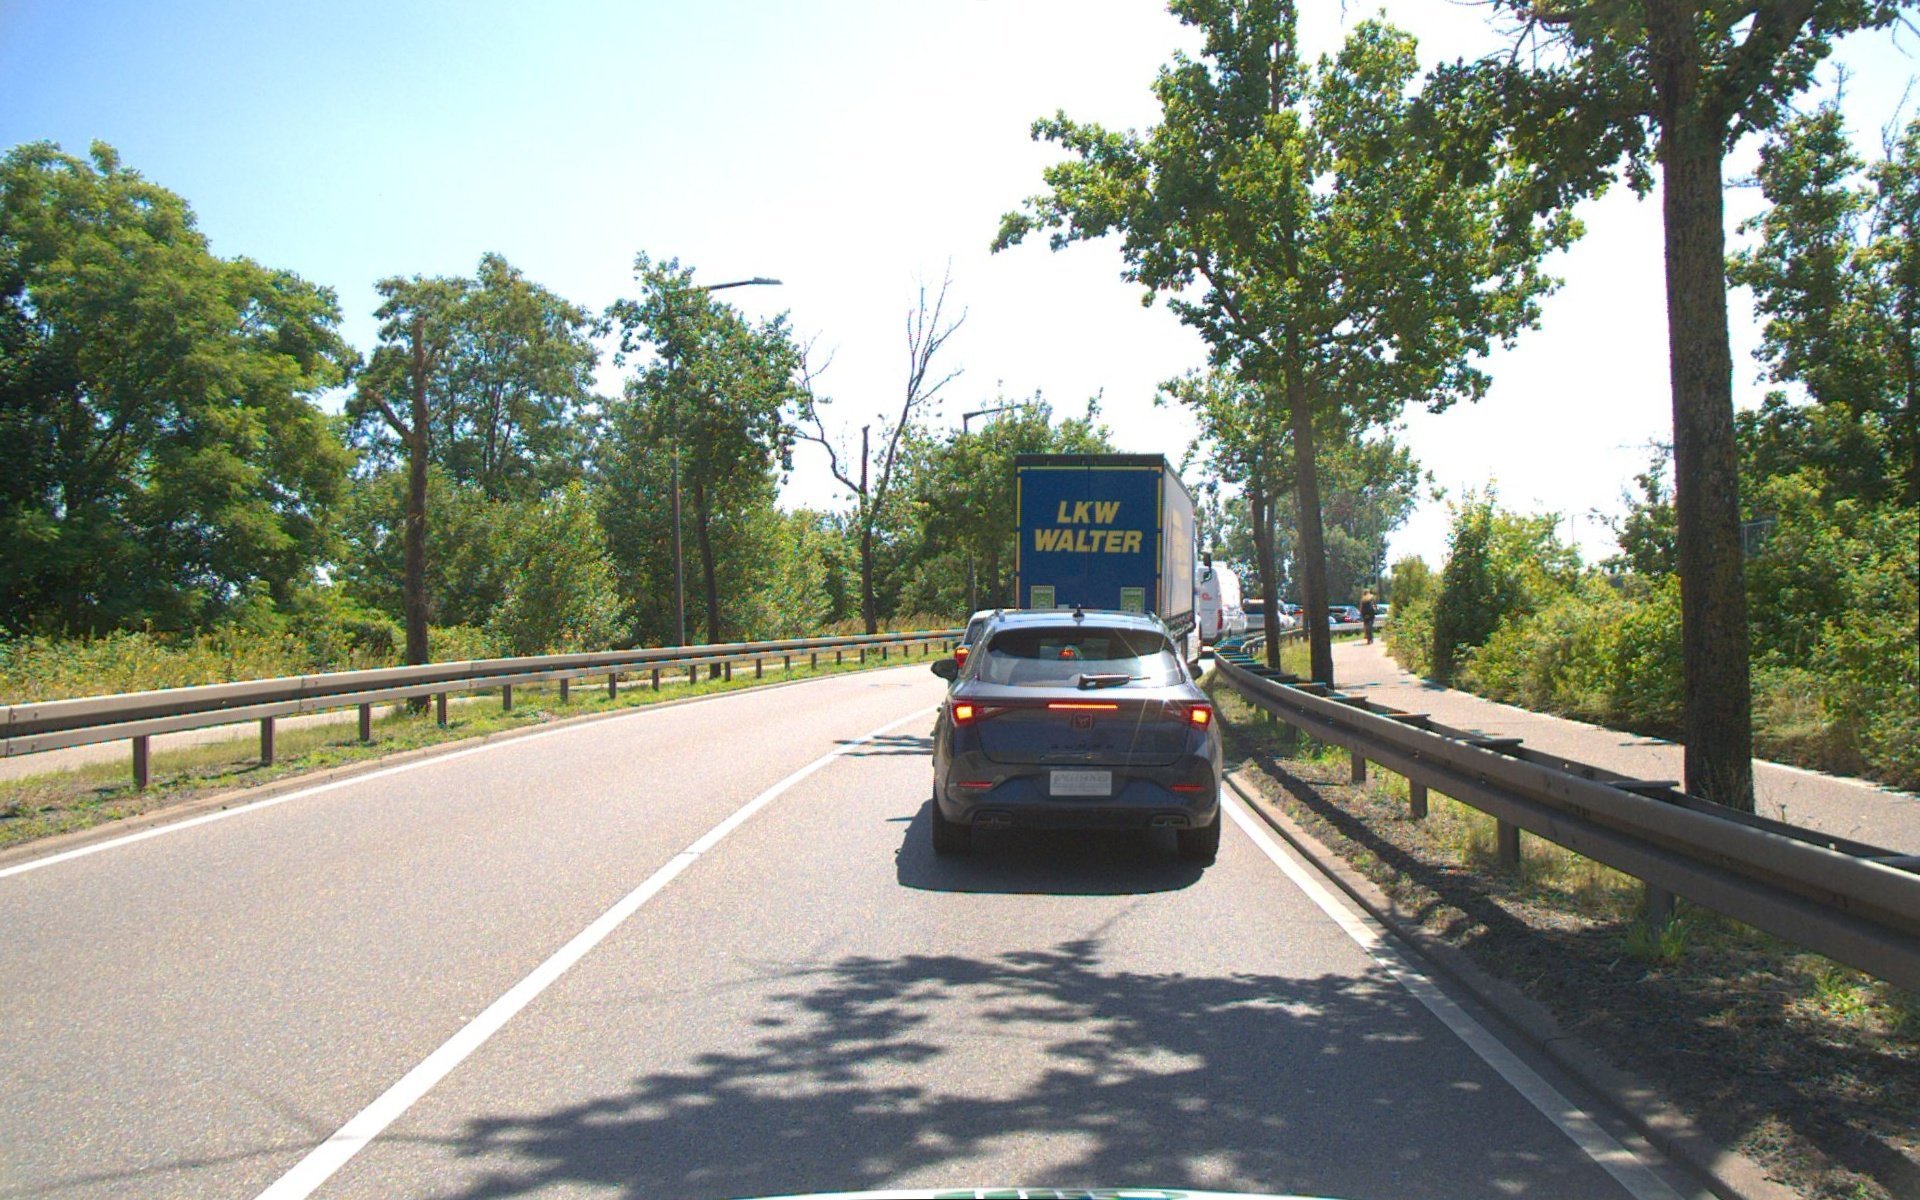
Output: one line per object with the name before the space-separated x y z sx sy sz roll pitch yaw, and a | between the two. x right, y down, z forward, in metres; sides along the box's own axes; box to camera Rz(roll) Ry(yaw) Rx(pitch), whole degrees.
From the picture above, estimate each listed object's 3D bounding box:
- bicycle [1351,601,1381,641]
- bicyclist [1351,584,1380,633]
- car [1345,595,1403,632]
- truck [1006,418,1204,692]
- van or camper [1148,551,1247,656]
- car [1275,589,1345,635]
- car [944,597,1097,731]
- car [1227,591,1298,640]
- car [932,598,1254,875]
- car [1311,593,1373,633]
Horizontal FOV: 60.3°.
bicycle | 13.103 0.662 53.410 0.842 1.258 2.311 0 0 11
bicyclist | 13.095 0.270 53.402 0.842 1.550 0.981 0 -1 11
car | 20.545 0.674 81.980 1.954 1.799 4.751 0 0 25
truck | 3.633 -0.702 35.859 2.887 4.527 16.811 1 0 10
van or camper | 7.462 0.105 51.342 2.414 3.051 6.091 0 0 14
car | 14.582 0.499 68.772 1.953 1.840 4.844 0 0 23
car | 0.864 0.755 21.231 1.771 1.534 4.002 1 0 5
car | 11.295 0.575 61.584 1.952 1.742 4.621 0 0 19
car | 0.706 0.739 10.767 1.708 1.457 3.879 1 0 0
car | 17.500 0.603 75.686 1.953 1.747 4.867 0 0 23
